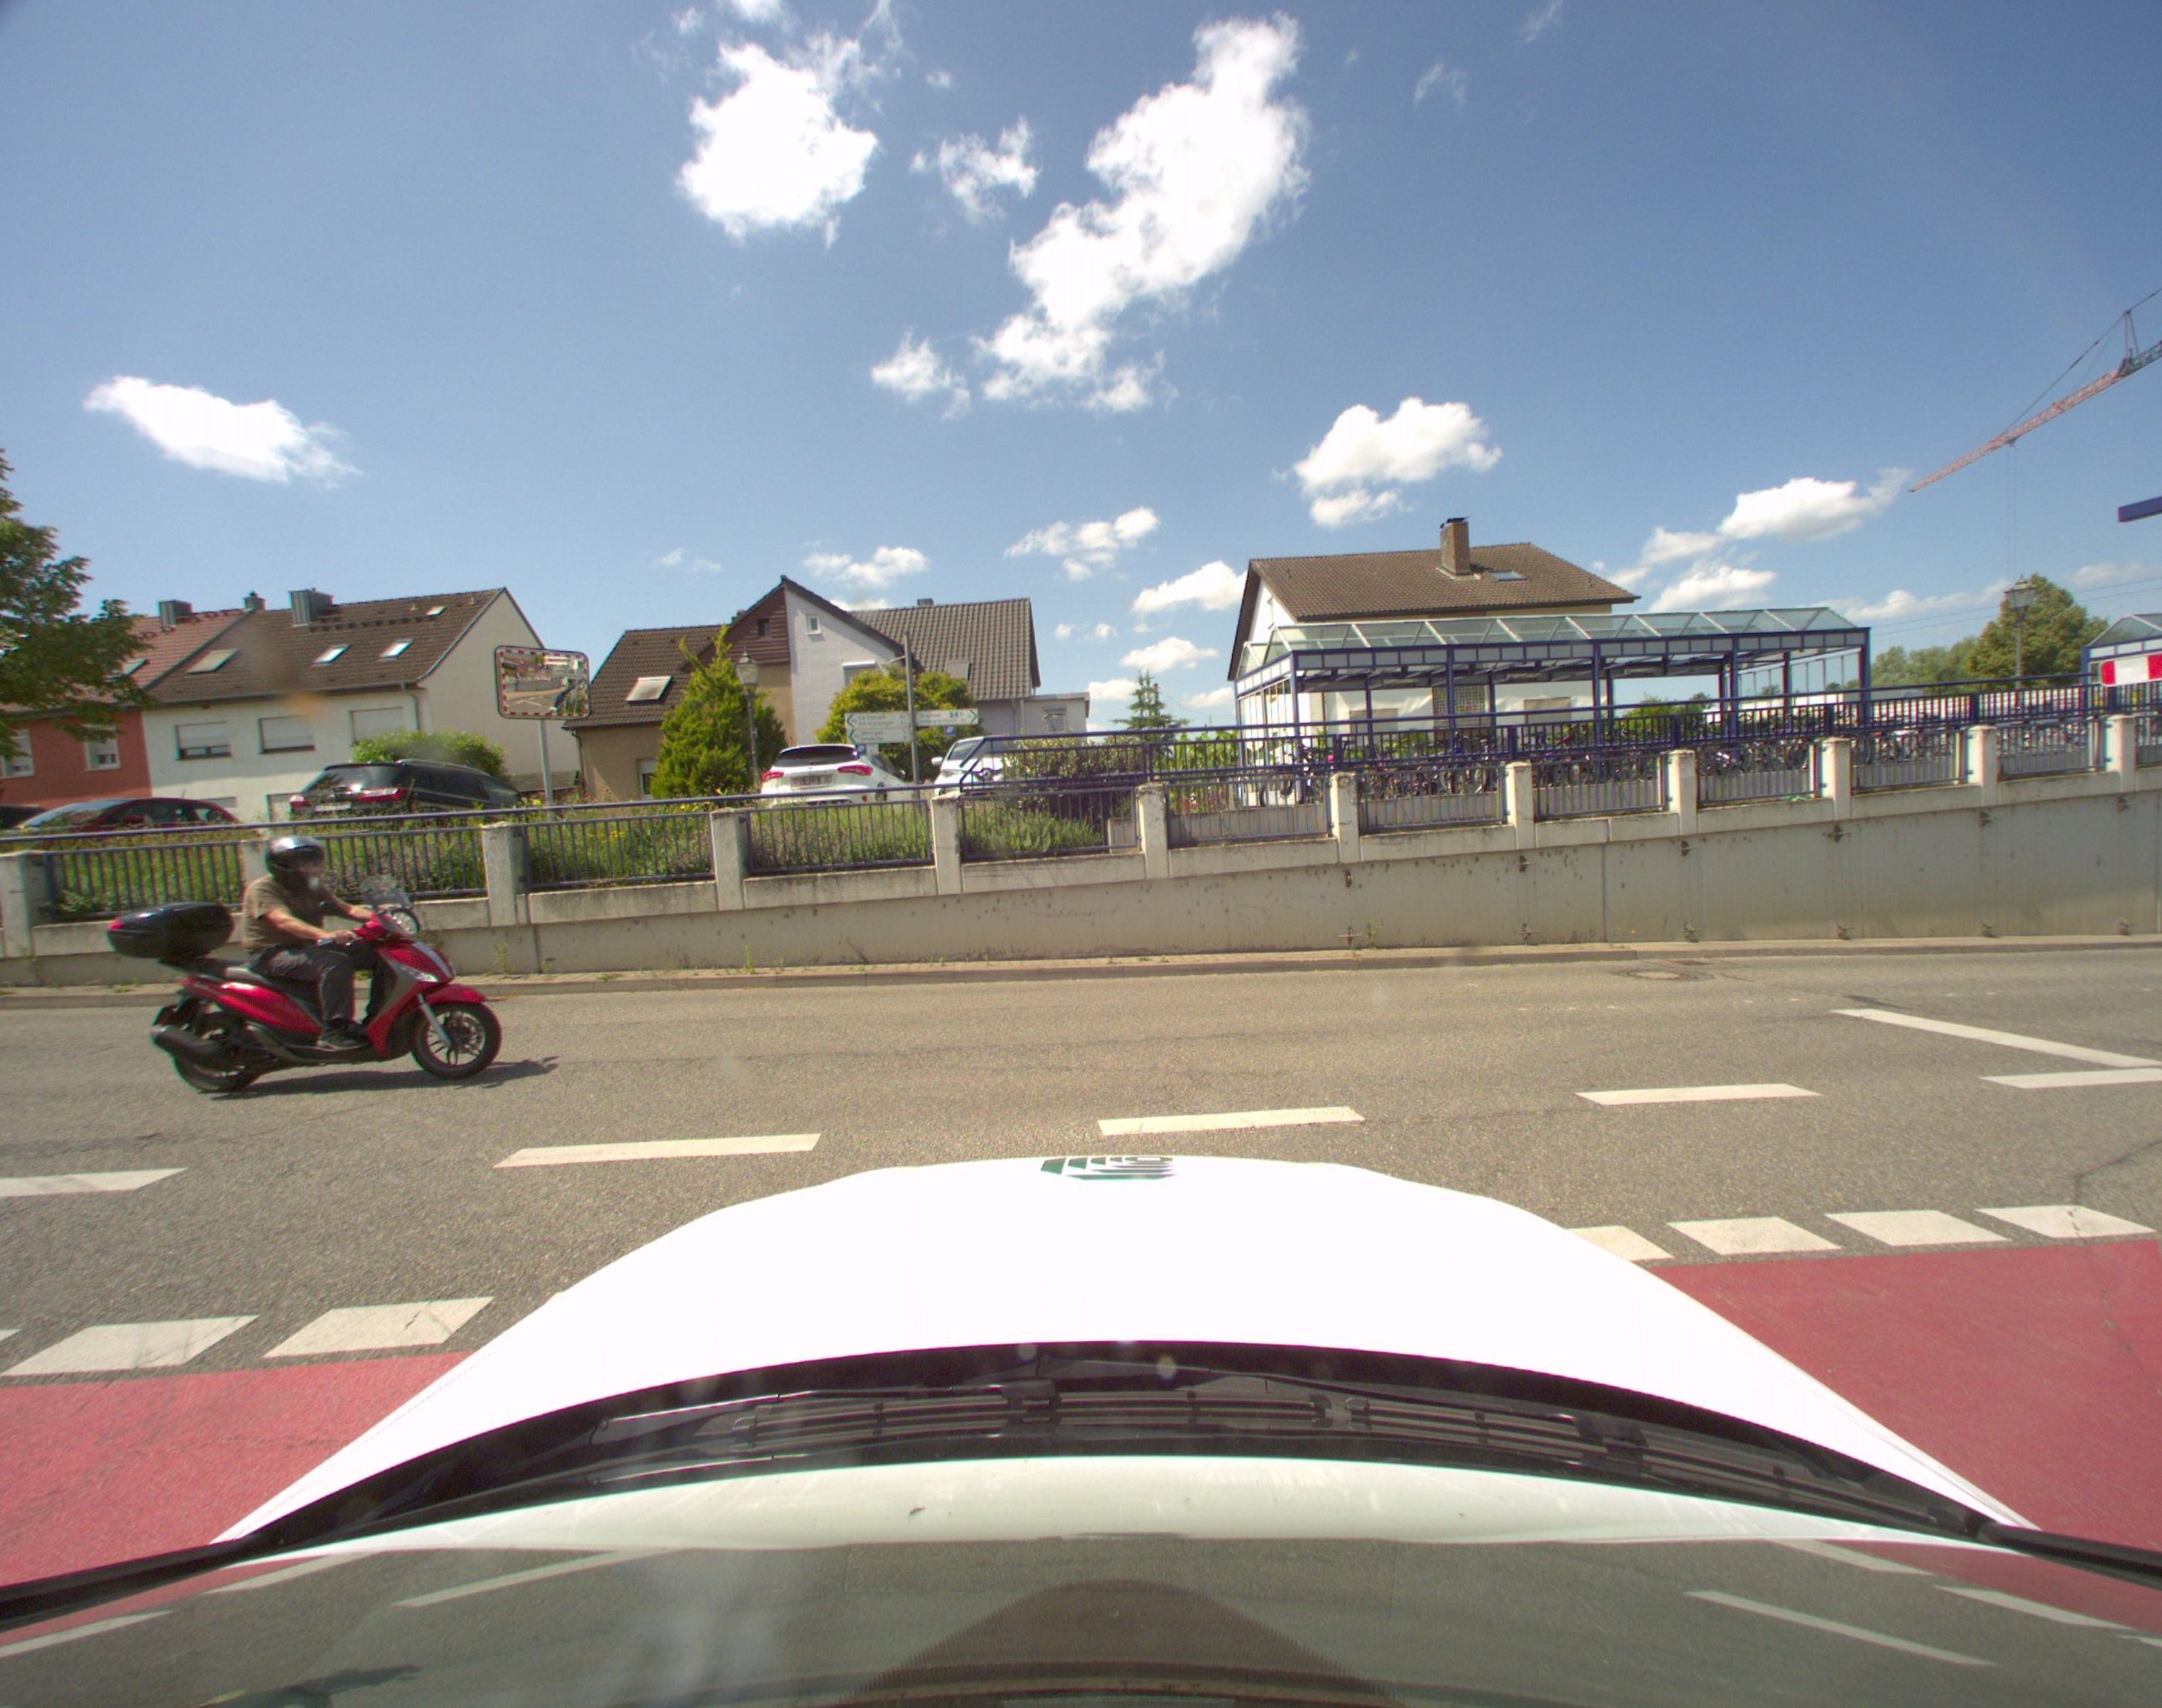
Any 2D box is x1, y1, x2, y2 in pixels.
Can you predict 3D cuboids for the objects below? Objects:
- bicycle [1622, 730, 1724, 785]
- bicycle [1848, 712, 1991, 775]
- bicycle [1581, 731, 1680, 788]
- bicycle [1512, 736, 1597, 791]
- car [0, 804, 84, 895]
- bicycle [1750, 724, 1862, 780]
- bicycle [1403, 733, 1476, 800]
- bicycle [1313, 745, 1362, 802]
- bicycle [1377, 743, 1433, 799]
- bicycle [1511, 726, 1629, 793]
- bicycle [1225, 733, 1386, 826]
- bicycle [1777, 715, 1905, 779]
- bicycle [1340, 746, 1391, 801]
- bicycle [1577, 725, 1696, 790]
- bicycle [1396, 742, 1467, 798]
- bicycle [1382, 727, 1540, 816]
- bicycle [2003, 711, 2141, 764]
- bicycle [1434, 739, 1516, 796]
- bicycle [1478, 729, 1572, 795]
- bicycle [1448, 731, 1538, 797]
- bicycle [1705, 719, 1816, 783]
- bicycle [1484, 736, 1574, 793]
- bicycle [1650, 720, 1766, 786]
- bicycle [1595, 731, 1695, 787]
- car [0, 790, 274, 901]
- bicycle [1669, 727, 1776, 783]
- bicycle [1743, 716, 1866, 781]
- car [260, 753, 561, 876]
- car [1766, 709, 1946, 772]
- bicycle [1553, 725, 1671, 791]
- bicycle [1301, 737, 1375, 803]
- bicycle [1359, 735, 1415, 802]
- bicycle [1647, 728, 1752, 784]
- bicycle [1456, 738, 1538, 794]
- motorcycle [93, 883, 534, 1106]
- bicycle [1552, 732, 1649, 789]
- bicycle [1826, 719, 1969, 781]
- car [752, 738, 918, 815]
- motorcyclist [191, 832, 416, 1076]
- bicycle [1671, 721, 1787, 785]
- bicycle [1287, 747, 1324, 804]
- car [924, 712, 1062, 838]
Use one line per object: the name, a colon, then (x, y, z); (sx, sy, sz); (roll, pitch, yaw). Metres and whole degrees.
bicycle: (12.349, -1.992, 17.065); (0.518, 0.994, 1.961); (-3, 3, -7)
bicycle: (15.977, -2.085, 15.600); (0.542, 0.994, 2.037); (-3, 3, -4)
bicycle: (11.211, -1.910, 16.697); (0.518, 0.994, 1.961); (-3, 3, -7)
bicycle: (9.712, -1.831, 16.768); (0.518, 0.994, 1.797); (-3, 3, -7)
car: (-19.815, -0.068, 13.616); (1.862, 1.586, 3.607); (0, 1, -2)
bicycle: (15.328, -2.134, 17.287); (0.542, 0.994, 2.039); (-3, 3, -1)
bicycle: (6.070, -1.451, 13.885); (0.433, 0.994, 2.105); (-3, 3, 5)
bicycle: (4.954, -1.520, 15.822); (0.371, 0.994, 1.967); (-3, 3, 2)
bicycle: (6.408, -1.619, 16.193); (0.371, 0.994, 1.967); (-3, 3, 2)
bicycle: (8.501, -1.606, 14.295); (0.531, 0.994, 2.278); (-3, 3, -5)
bicycle: (3.030, -1.006, 10.998); (2.114, 1.125, 0.332); (-3, 3, -9)
bicycle: (14.085, -1.959, 15.182); (0.541, 0.994, 2.041); (-3, 3, 2)
bicycle: (5.666, -1.584, 16.304); (0.371, 0.994, 1.967); (-3, 3, 2)
bicycle: (10.106, -1.726, 14.922); (0.531, 0.994, 2.185); (-3, 3, -5)
bicycle: (7.027, -1.665, 16.418); (0.425, 0.994, 1.963); (-3, 3, -4)
bicycle: (5.302, -1.150, 11.378); (2.114, 1.125, 0.391); (-3, 3, -9)
bicycle: (22.636, -2.643, 18.673); (0.510, 0.994, 2.019); (-4, 3, -10)
bicycle: (7.880, -1.710, 16.389); (0.473, 0.994, 1.961); (-3, 3, -7)
bicycle: (7.732, -1.563, 14.297); (0.434, 0.994, 2.282); (-3, 3, 1)
bicycle: (7.152, -1.529, 14.253); (0.434, 0.994, 2.282); (-3, 3, 1)
bicycle: (12.531, -1.869, 15.103); (0.513, 0.994, 2.043); (-3, 3, 6)
bicycle: (9.059, -1.784, 16.557); (0.518, 0.994, 1.961); (-3, 3, -7)
bicycle: (11.126, -1.764, 14.551); (0.576, 0.994, 2.193); (-3, 3, 7)
bicycle: (11.737, -1.956, 17.027); (0.518, 0.994, 1.961); (-3, 3, -7)
car: (-16.018, -0.147, 13.419); (1.862, 1.586, 3.607); (0, 1, -2)
bicycle: (13.480, -2.060, 17.184); (0.518, 0.994, 1.961); (-3, 3, -7)
bicycle: (13.280, -1.907, 15.037); (0.513, 0.994, 2.041); (-3, 3, 2)
car: (-11.055, -0.603, 13.890); (1.862, 1.797, 3.998); (0, 1, -2)
car: (25.876, -3.749, 27.387); (1.995, 1.677, 3.986); (-4, 3, -11)
bicycle: (9.447, -1.674, 14.611); (0.531, 0.994, 2.185); (-3, 3, -5)
bicycle: (4.359, -1.393, 13.957); (0.332, 0.994, 2.070); (-3, 3, -8)
bicycle: (5.070, -1.381, 13.597); (0.433, 0.994, 2.108); (-3, 3, 9)
bicycle: (12.934, -2.026, 17.112); (0.518, 0.994, 1.961); (-3, 3, -7)
bicycle: (8.354, -1.739, 16.436); (0.413, 0.994, 1.961); (-3, 3, -7)
motorcycle: (-5.007, 0.876, 5.438); (2.133, 1.291, 0.728); (-1, 0, -4)
bicycle: (10.492, -1.862, 16.527); (0.518, 0.994, 1.961); (-3, 3, -7)
bicycle: (15.851, -1.993, 15.900); (0.436, 0.994, 2.157); (-3, 3, -8)
car: (-3.972, -1.222, 13.755); (1.820, 1.020, 3.457); (0, 1, -2)
motorcyclist: (-5.129, 0.617, 5.431); (0.767, 1.501, 0.728); (-1, 0, -4)
bicycle: (11.841, -1.825, 14.976); (0.514, 0.994, 2.039); (-3, 3, 0)
bicycle: (4.281, -1.472, 15.604); (0.452, 0.994, 1.893); (-3, 3, 9)
car: (-1.330, -1.186, 13.894); (1.988, 1.797, 4.194); (0, 1, -2)
